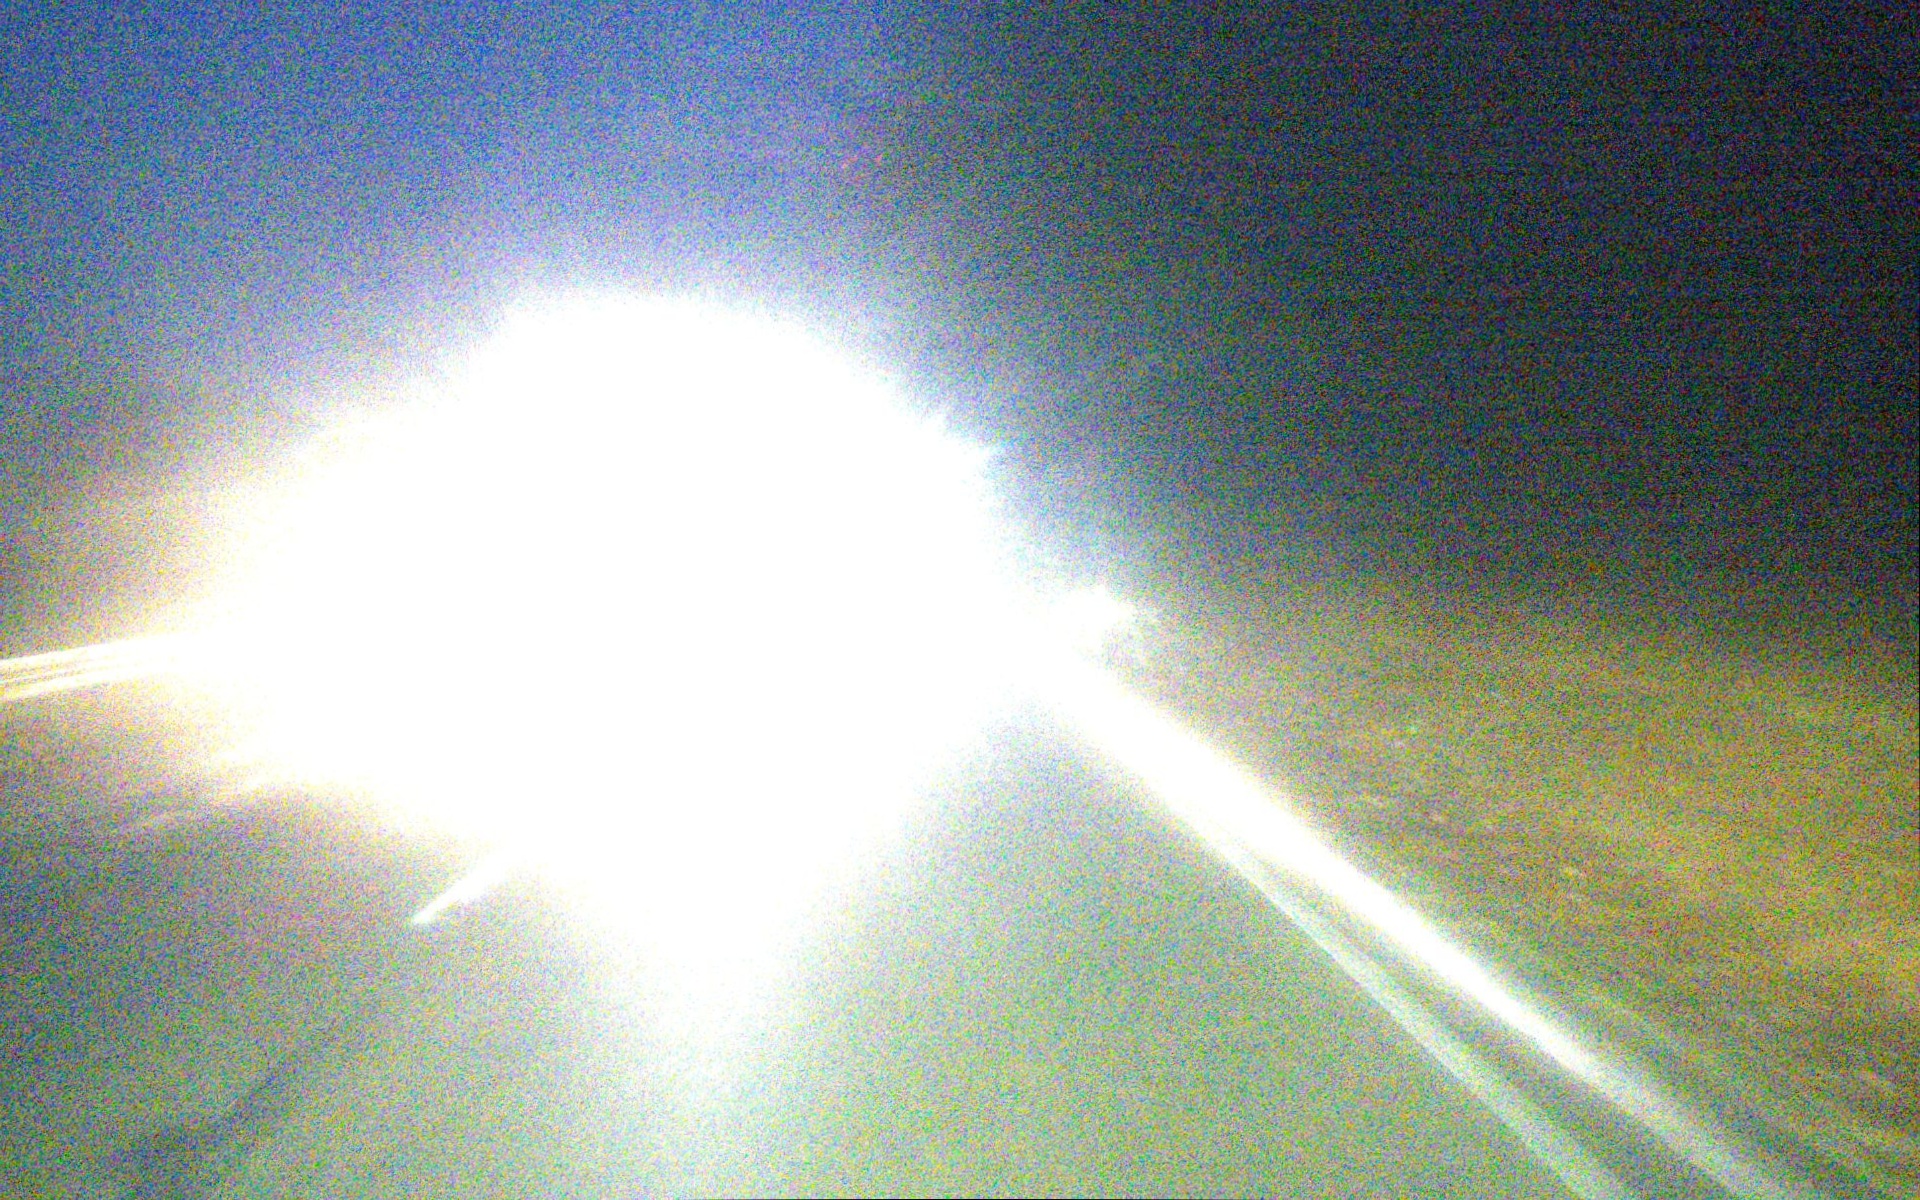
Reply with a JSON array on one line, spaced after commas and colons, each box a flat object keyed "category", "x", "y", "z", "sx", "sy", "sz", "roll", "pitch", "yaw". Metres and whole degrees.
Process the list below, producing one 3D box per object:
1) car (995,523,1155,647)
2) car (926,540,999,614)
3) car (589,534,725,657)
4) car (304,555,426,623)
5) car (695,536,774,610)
[{"category": "car", "x": 1.520, "y": -0.233, "z": 46.825, "sx": 1.993, "sy": 1.612, "sz": 4.000, "roll": 0, "pitch": 1, "yaw": -1}, {"category": "car", "x": 0.052, "y": -0.672, "z": 96.975, "sx": 1.993, "sy": 2.007, "sz": 4.000, "roll": 1, "pitch": 1, "yaw": -1}, {"category": "car", "x": -5.138, "y": -0.111, "z": 58.794, "sx": 1.993, "sy": 2.007, "sz": 4.000, "roll": 1, "pitch": 1, "yaw": -1}, {"category": "car", "x": -13.385, "y": -0.272, "z": 77.582, "sx": 1.993, "sy": 1.443, "sz": 4.430, "roll": 1, "pitch": 1, "yaw": 0}, {"category": "car", "x": -6.325, "y": -0.778, "z": 96.797, "sx": 1.993, "sy": 2.007, "sz": 4.000, "roll": 1, "pitch": 1, "yaw": -1}]
